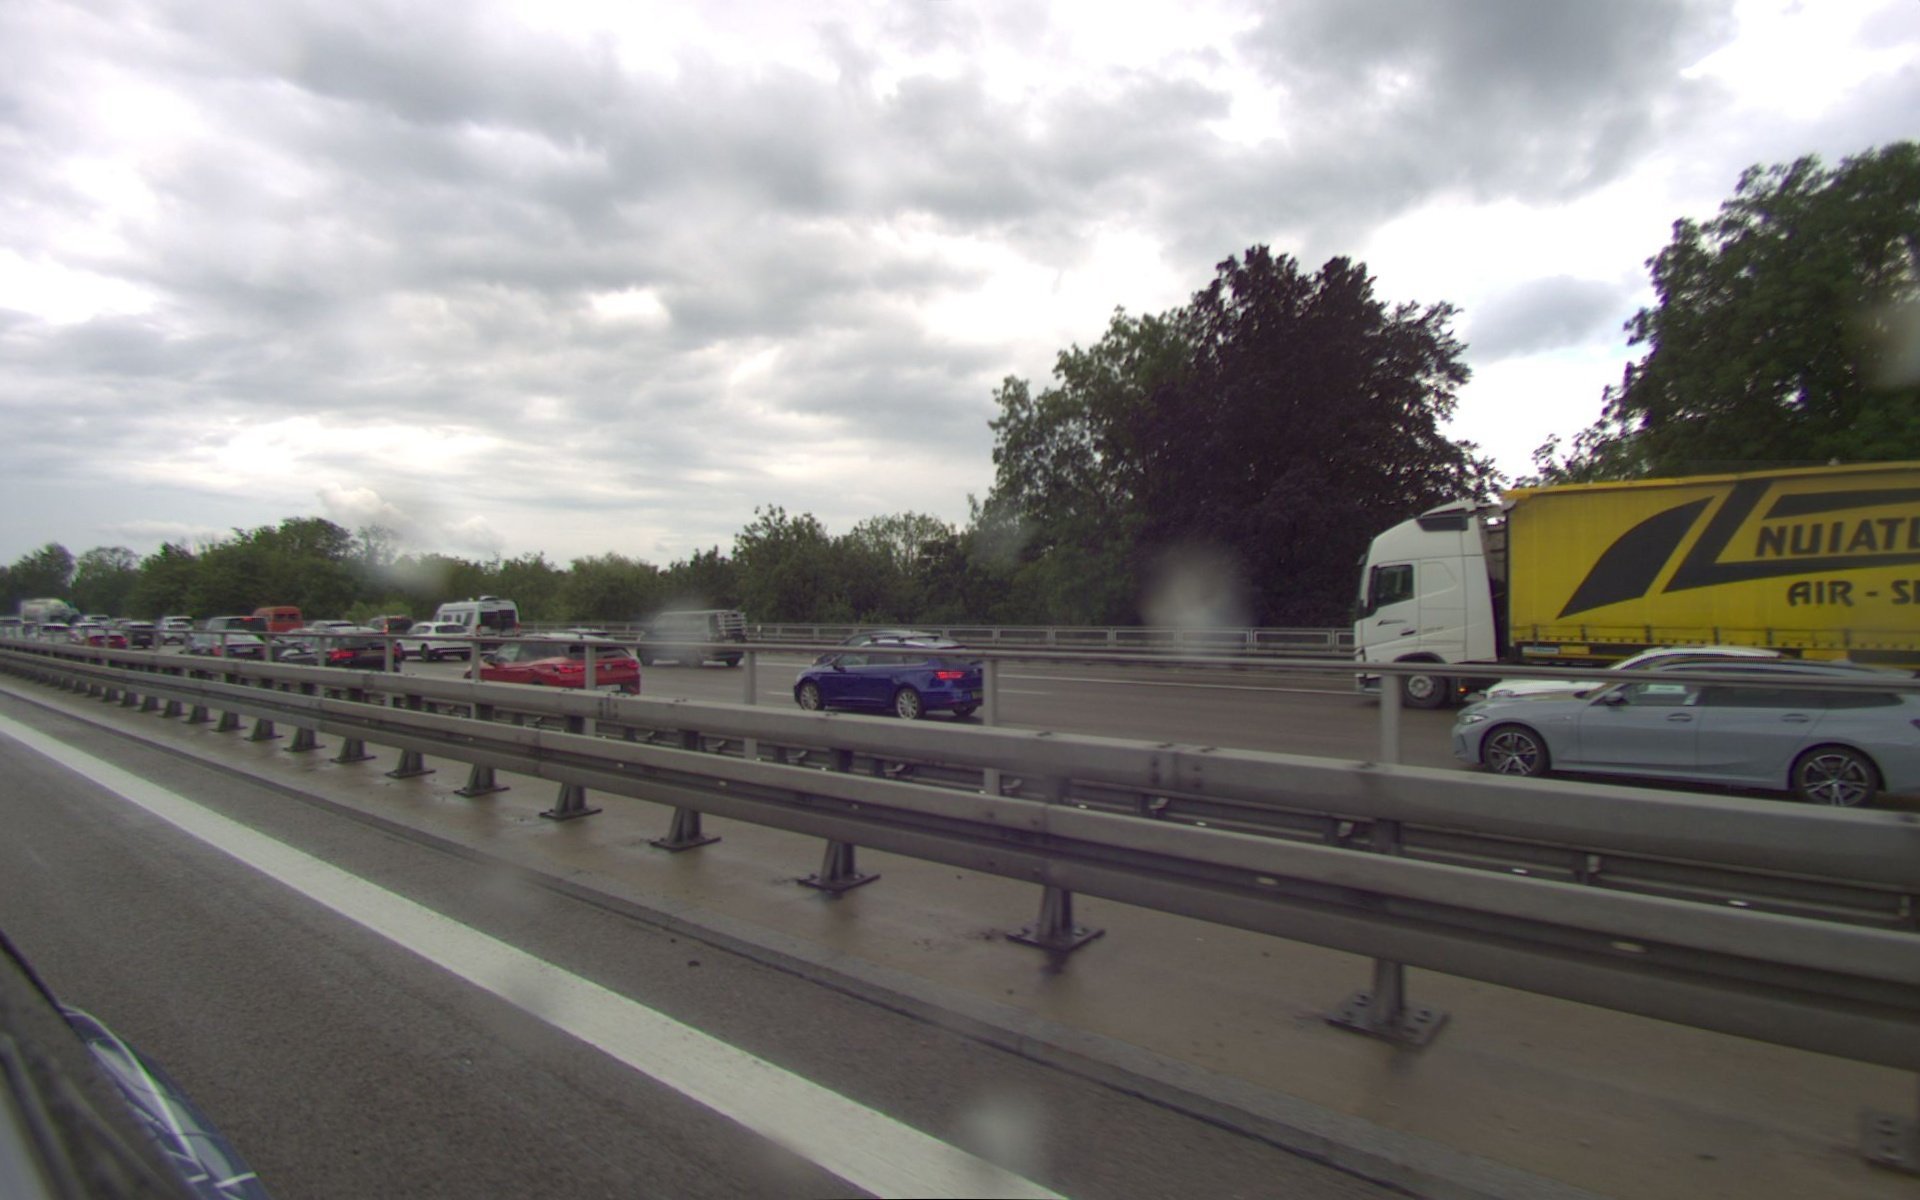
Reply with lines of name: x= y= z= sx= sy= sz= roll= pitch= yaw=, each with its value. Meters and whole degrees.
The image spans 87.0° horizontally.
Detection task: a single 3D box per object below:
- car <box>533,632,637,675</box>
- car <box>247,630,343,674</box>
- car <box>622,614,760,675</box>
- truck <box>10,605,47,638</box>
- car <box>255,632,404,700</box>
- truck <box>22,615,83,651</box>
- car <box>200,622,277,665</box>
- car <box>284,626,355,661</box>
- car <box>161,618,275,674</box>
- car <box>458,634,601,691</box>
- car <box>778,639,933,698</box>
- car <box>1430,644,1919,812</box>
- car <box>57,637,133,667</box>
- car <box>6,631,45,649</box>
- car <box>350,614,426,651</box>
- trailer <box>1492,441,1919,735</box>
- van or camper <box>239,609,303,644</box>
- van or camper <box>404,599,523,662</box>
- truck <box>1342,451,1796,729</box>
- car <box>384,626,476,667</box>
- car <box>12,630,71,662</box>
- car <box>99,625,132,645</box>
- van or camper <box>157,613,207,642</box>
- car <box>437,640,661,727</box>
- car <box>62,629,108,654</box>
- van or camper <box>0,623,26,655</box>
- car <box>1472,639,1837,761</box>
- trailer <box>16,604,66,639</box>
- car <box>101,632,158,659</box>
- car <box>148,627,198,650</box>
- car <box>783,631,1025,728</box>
car: x=-13.329 y=1.850 z=35.919 sx=3.994 sy=1.429 sz=1.618 roll=-1 pitch=-2 yaw=38
car: x=-26.411 y=2.017 z=40.150 sx=4.457 sy=1.625 sz=1.845 roll=-2 pitch=-2 yaw=38
car: x=-9.693 y=1.540 z=36.271 sx=5.406 sy=2.029 sz=1.974 roll=-1 pitch=-2 yaw=38
truck: x=-114.813 y=2.718 z=124.706 sx=6.975 sy=3.995 sz=2.437 roll=-2 pitch=-2 yaw=39
car: x=-17.354 y=1.740 z=27.739 sx=5.167 sy=1.682 sz=1.849 roll=-2 pitch=-2 yaw=38
truck: x=-69.519 y=2.503 z=77.449 sx=8.746 sy=2.622 sz=2.125 roll=-2 pitch=-2 yaw=39
car: x=-34.190 y=2.032 z=47.911 sx=4.999 sy=1.916 sz=1.873 roll=-1 pitch=-2 yaw=42
car: x=-31.482 y=2.115 z=49.690 sx=3.998 sy=1.657 sz=1.889 roll=-1 pitch=-2 yaw=41
car: x=-26.511 y=1.611 z=36.076 sx=5.701 sy=1.840 sz=1.848 roll=-2 pitch=-2 yaw=39
car: x=-12.197 y=1.704 z=28.564 sx=4.470 sy=1.436 sz=1.799 roll=-1 pitch=-2 yaw=38
car: x=-2.669 y=1.658 z=25.294 sx=3.994 sy=1.310 sz=1.433 roll=-1 pitch=-2 yaw=38
car: x=8.166 y=1.265 z=11.096 sx=5.213 sy=1.491 sz=1.791 roll=-1 pitch=-2 yaw=38
car: x=-42.532 y=2.511 z=49.725 sx=5.358 sy=1.403 sz=1.855 roll=-2 pitch=-2 yaw=38
car: x=-79.251 y=3.397 z=85.826 sx=4.028 sy=1.486 sz=1.814 roll=-2 pitch=-2 yaw=38
car: x=-31.854 y=1.809 z=56.318 sx=4.753 sy=1.960 sz=2.056 roll=-1 pitch=-2 yaw=38
trailer: x=16.177 y=-0.176 z=14.803 sx=14.501 sy=4.260 sz=3.214 roll=-1 pitch=-2 yaw=41
van or camper: x=-47.008 y=1.787 z=69.025 sx=6.228 sy=2.322 sz=1.920 roll=-1 pitch=-2 yaw=39
van or camper: x=-23.676 y=1.460 z=48.094 sx=7.222 sy=2.786 sz=2.180 roll=-2 pitch=-2 yaw=39
truck: x=11.245 y=-0.069 z=19.089 sx=6.877 sy=4.282 sz=3.214 roll=-1 pitch=-2 yaw=41
car: x=-22.088 y=1.905 z=42.148 sx=4.457 sy=1.625 sz=1.711 roll=-1 pitch=-2 yaw=38
car: x=-51.885 y=2.567 z=57.116 sx=5.354 sy=1.688 sz=1.806 roll=-2 pitch=-2 yaw=41
car: x=-80.263 y=3.282 z=96.156 sx=3.997 sy=1.844 sz=1.703 roll=-1 pitch=-2 yaw=40
van or camper: x=-65.379 y=2.304 z=85.045 sx=5.928 sy=2.347 sz=2.026 roll=-1 pitch=-2 yaw=39
car: x=-8.182 y=1.554 z=19.956 sx=4.835 sy=1.474 sz=1.975 roll=-2 pitch=-2 yaw=38
car: x=-60.483 y=2.861 z=69.918 sx=3.995 sy=1.648 sz=1.660 roll=-2 pitch=-3 yaw=38
van or camper: x=-64.531 y=2.632 z=67.834 sx=5.636 sy=2.084 sz=1.964 roll=-2 pitch=-2 yaw=38
car: x=9.695 y=1.305 z=14.387 sx=4.047 sy=1.449 sz=1.805 roll=-1 pitch=-2 yaw=38
trailer: x=-108.811 y=2.585 z=119.777 sx=13.205 sy=3.988 sz=2.437 roll=-2 pitch=-2 yaw=39
car: x=-50.506 y=2.736 z=61.507 sx=5.010 sy=1.420 sz=1.660 roll=1 pitch=-1 yaw=39
car: x=-53.888 y=2.608 z=69.296 sx=3.995 sy=1.512 sz=1.773 roll=-1 pitch=-2 yaw=38
car: x=-1.139 y=1.400 z=19.145 sx=4.571 sy=1.624 sz=1.762 roll=-1 pitch=-2 yaw=38
